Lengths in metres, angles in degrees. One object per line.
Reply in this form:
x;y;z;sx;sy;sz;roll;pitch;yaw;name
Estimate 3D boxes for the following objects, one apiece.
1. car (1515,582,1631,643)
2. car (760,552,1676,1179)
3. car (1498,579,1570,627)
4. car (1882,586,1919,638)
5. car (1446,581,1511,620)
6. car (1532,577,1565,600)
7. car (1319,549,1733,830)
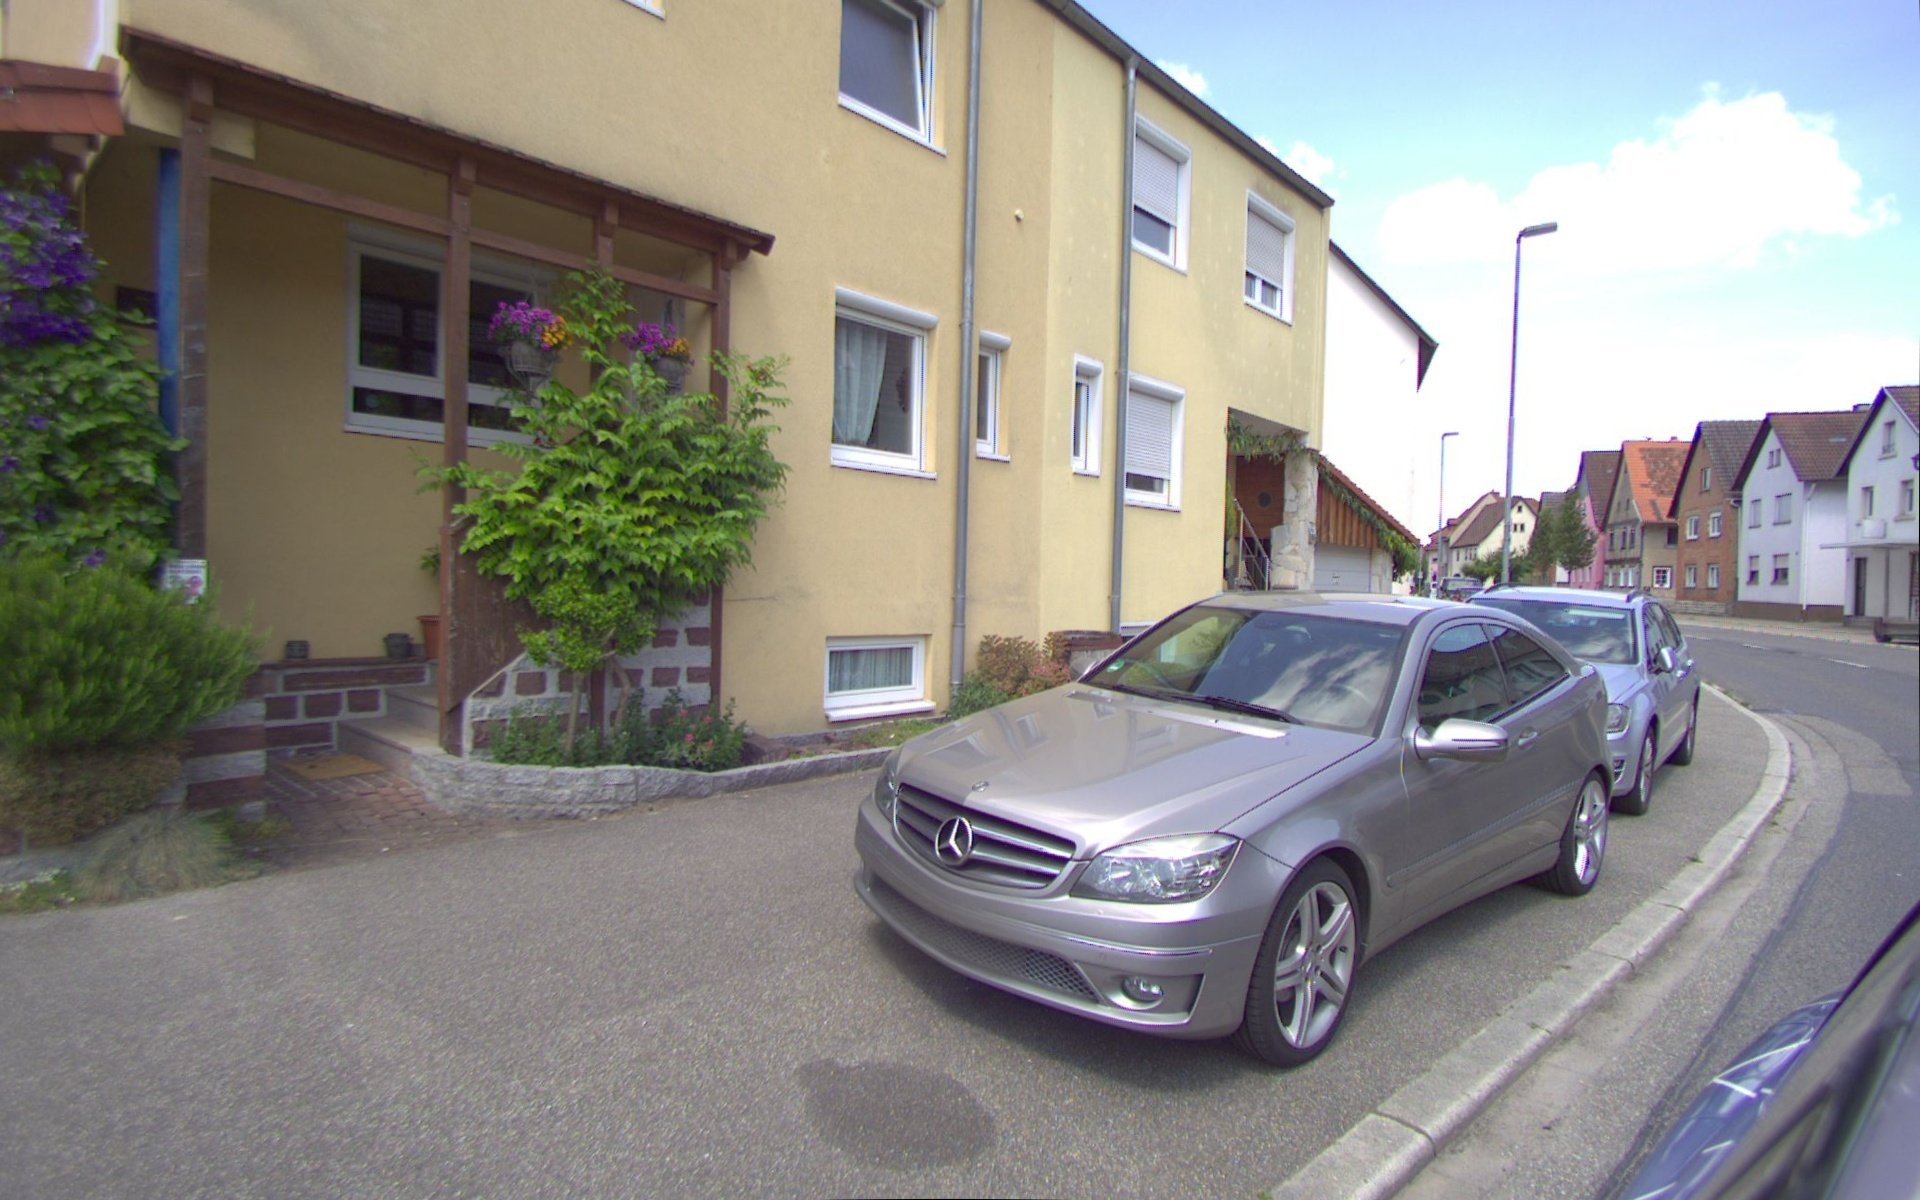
16.884;0.283;28.077;1.704;1.402;3.981;2;3;16;car
1.481;0.548;4.486;4.349;1.416;1.774;-2;5;-42;car
20.077;0.136;35.547;1.754;1.549;3.967;1;-1;23;car
27.437;0.348;27.687;1.789;1.438;4.516;0;0;22;car
23.094;-0.023;45.209;1.641;1.668;3.985;0;1;13;car
43.284;-0.878;74.481;1.665;1.549;3.474;0;2;22;car
4.681;0.467;8.045;1.885;1.548;4.269;5;4;42;car
